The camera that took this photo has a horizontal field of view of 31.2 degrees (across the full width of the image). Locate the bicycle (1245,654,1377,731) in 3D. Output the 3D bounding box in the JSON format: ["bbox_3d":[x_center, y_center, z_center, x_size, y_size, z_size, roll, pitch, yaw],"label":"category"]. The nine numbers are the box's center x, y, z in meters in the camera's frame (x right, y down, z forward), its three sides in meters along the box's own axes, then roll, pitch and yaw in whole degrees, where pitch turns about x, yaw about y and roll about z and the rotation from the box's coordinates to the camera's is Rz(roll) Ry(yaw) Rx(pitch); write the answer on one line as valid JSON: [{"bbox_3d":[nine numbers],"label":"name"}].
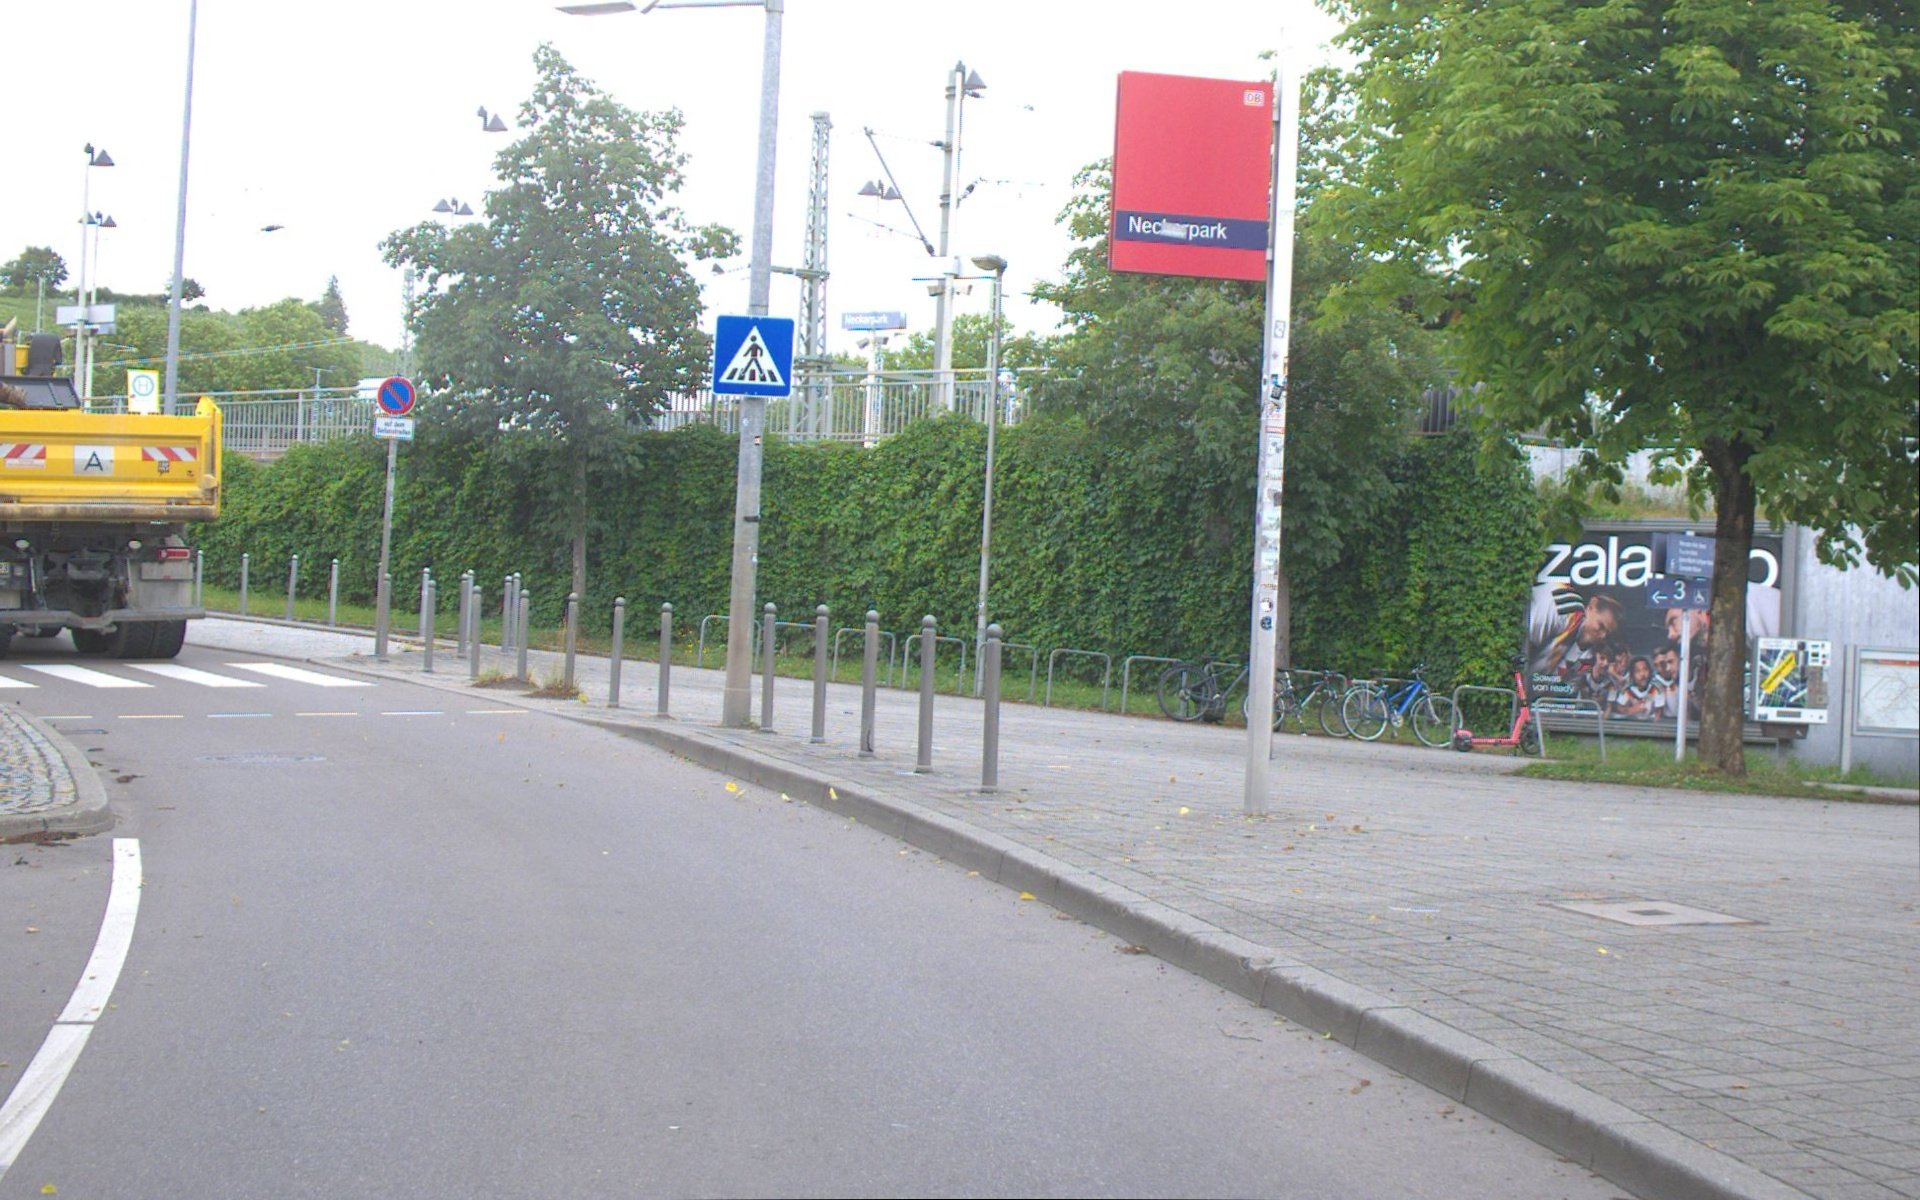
[{"bbox_3d":[4.544,1.199,44.471,1.574,0.851,0.464,5,0,-17],"label":"bicycle"}]

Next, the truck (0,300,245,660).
[{"bbox_3d":[-10.510,-1.402,37.776,2.764,3.471,8.131,2,2,-29],"label":"truck"}]

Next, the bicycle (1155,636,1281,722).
[{"bbox_3d":[3.365,1.032,44.891,1.487,0.986,0.694,5,0,-2],"label":"bicycle"}]

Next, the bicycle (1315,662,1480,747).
[{"bbox_3d":[5.540,1.324,43.520,1.965,0.862,0.511,6,0,-20],"label":"bicycle"}]

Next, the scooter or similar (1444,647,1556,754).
[{"bbox_3d":[6.662,1.239,42.424,1.187,1.202,0.468,5,-1,-17],"label":"scooter or similar"}]
